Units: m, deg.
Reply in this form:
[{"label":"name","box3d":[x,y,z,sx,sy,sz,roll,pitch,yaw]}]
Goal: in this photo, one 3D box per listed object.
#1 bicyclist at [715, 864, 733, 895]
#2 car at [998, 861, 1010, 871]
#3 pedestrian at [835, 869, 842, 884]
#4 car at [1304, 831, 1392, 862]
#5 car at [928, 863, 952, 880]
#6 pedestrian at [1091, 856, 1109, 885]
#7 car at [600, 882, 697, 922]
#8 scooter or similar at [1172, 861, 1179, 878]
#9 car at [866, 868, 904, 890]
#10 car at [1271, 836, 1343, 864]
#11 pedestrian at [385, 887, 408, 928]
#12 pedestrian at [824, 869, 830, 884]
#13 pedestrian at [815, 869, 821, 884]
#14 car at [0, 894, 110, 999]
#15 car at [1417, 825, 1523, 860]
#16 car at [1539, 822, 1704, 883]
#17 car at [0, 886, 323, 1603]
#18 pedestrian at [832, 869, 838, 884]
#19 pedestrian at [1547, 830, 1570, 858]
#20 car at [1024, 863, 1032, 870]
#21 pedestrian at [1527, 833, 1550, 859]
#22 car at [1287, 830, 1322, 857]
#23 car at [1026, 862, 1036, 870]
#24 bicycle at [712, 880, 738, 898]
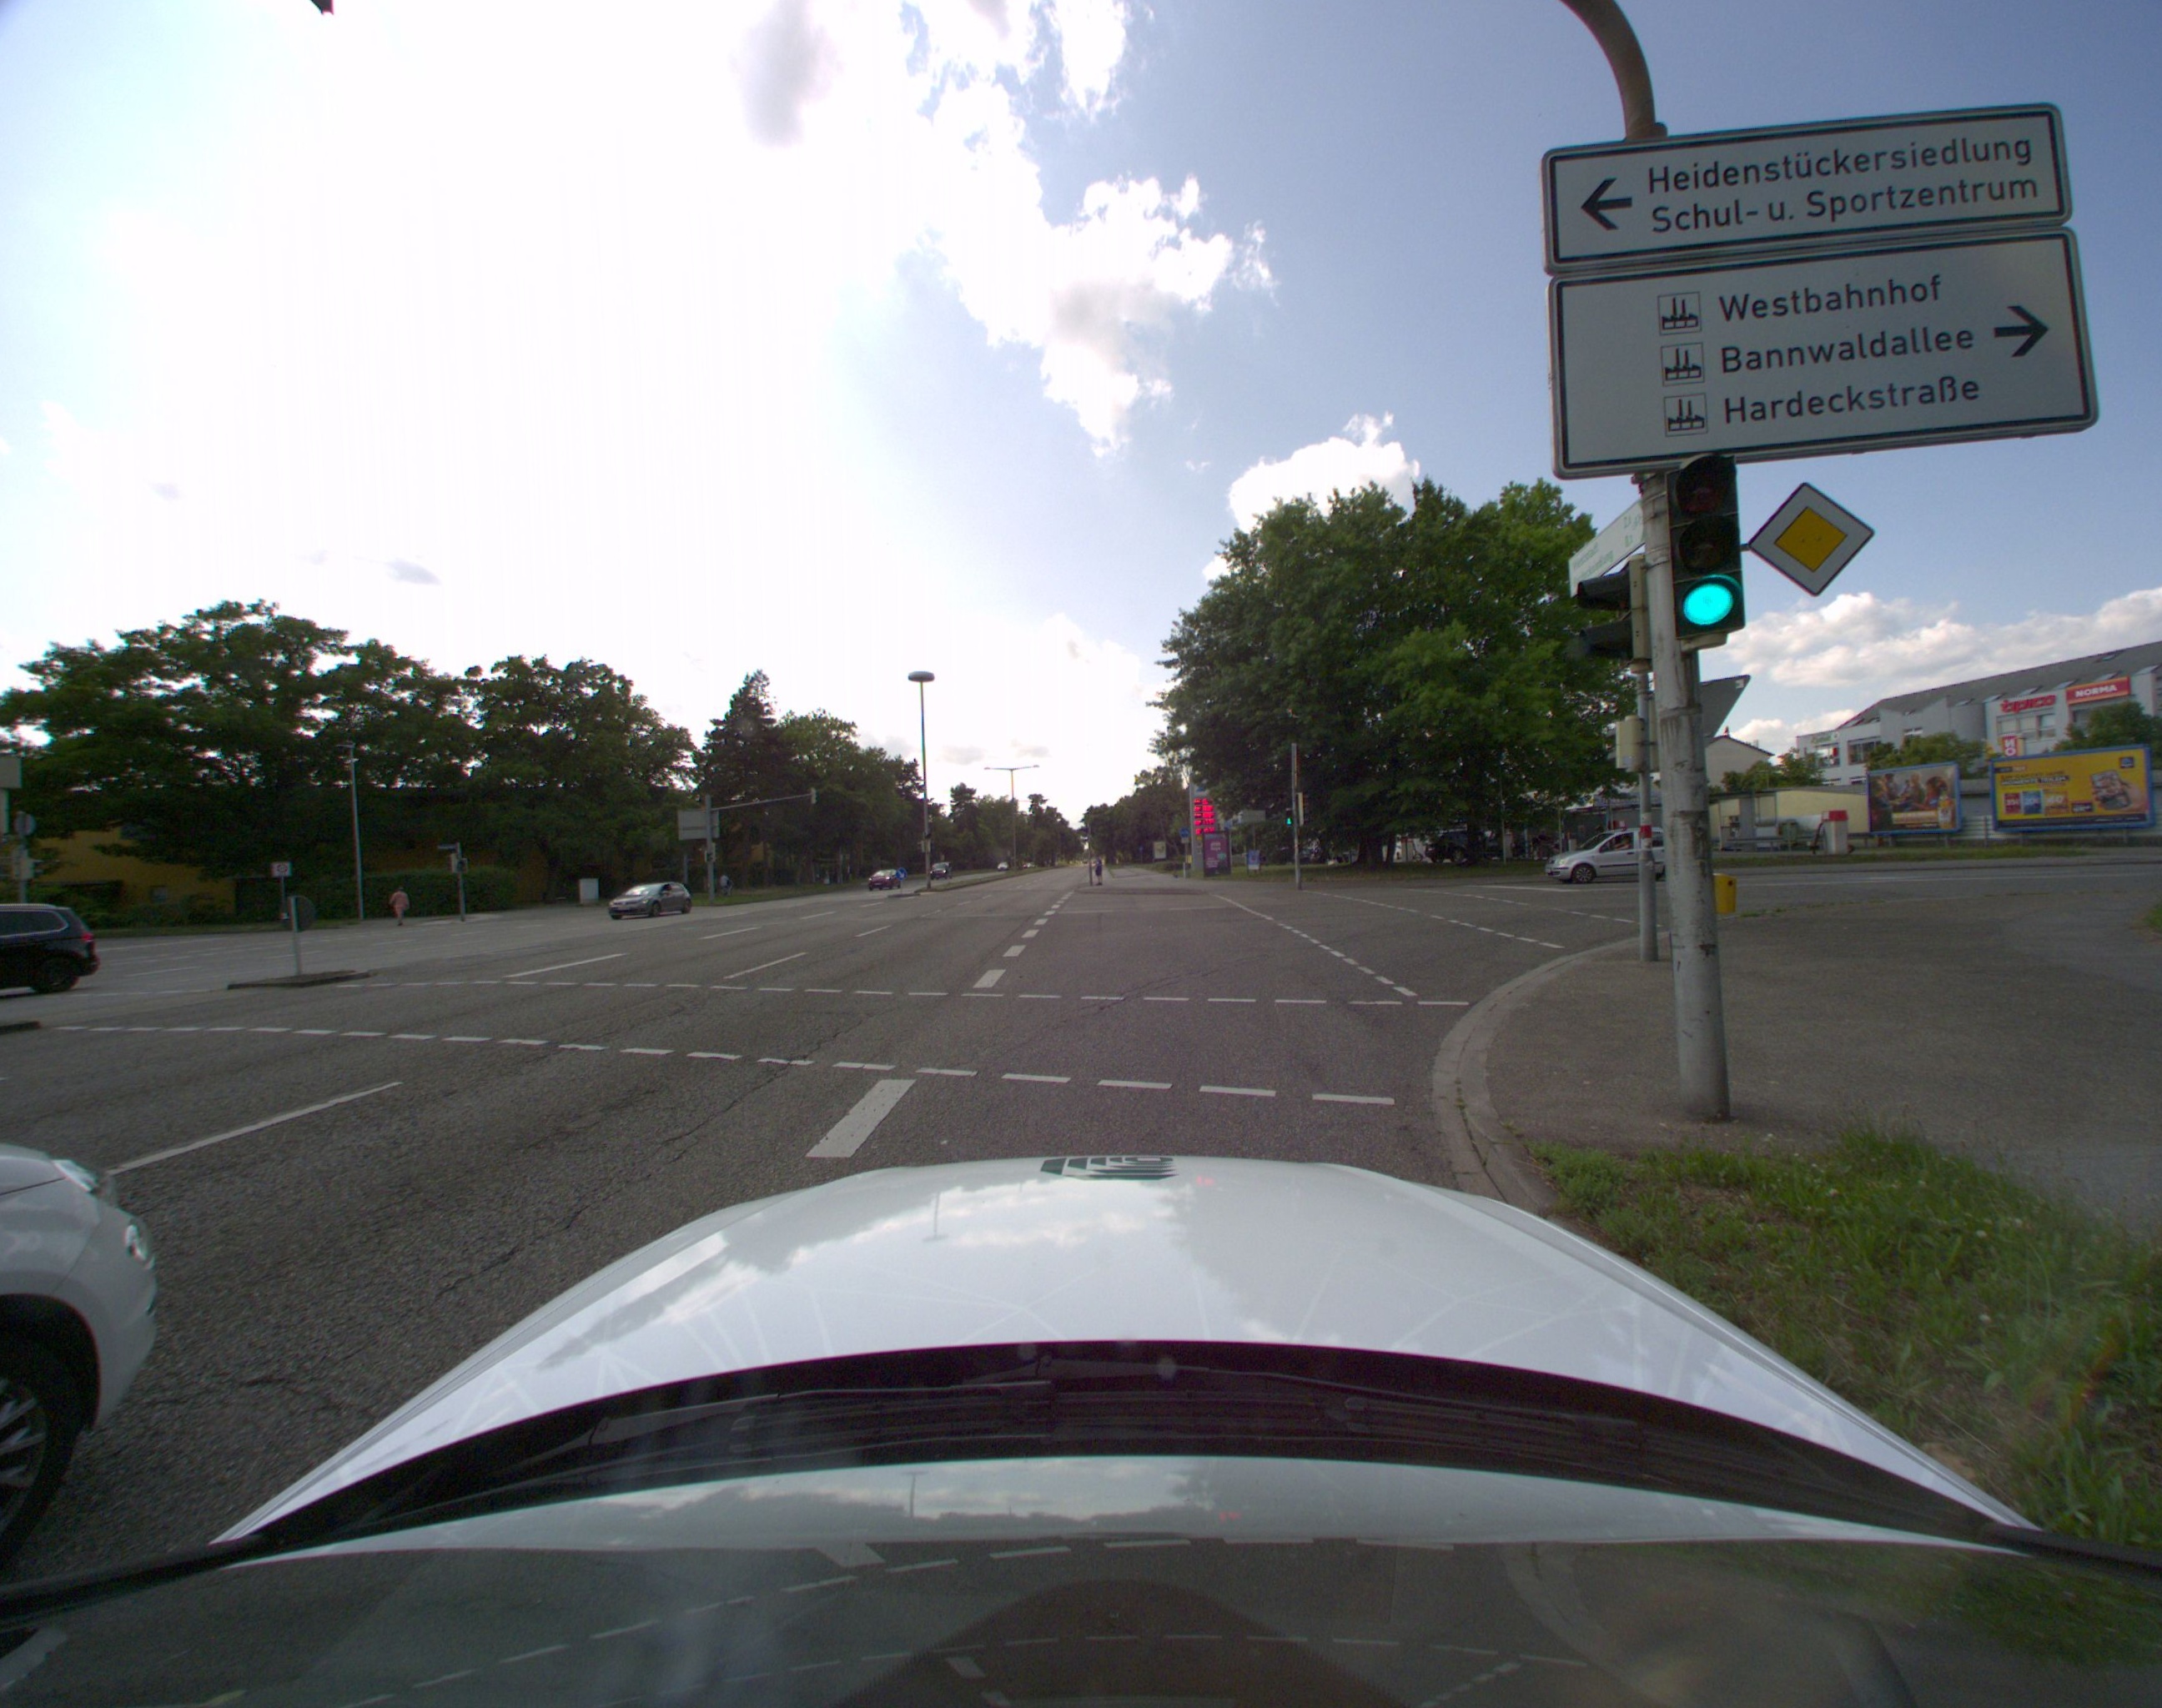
[{"label":"bicyclist","box3d":[-23.726,1.713,54.160,0.749,2.013,0.831,-3,-1,-1]},{"label":"car","box3d":[-15.318,2.361,161.734,1.854,1.705,4.455,-3,-1,0]},{"label":"pedestrian","box3d":[-24.380,2.221,81.862,0.570,1.496,0.419,0,-1,-14]},{"label":"car","box3d":[17.871,-0.499,54.649,5.180,1.827,2.147,-3,-1,-10]},{"label":"car","box3d":[-16.593,2.042,95.920,1.759,1.857,4.818,-3,0,1]},{"label":"pedestrian","box3d":[1.039,0.880,44.411,0.726,1.531,0.756,-3,-1,-15]},{"label":"car","box3d":[-17.991,1.970,34.095,1.587,1.372,4.085,-3,-1,3]},{"label":"scooter or similar","box3d":[5.636,0.899,48.543,0.220,0.979,1.273,-3,-1,2]},{"label":"car","box3d":[-14.683,1.879,61.149,1.767,1.465,4.453,-3,-1,-1]},{"label":"car","box3d":[18.161,-0.292,65.613,5.168,2.004,2.152,-3,-1,-3]},{"label":"pedestrian","box3d":[-30.490,2.381,36.295,0.696,1.742,0.697,-2,-1,-36]},{"label":"pedestrian","box3d":[-25.559,2.237,82.000,0.570,1.496,0.419,0,-1,-14]},{"label":"pedestrian","box3d":[-26.410,2.244,81.858,0.570,1.496,0.419,0,-1,-14]},{"label":"car","box3d":[-19.211,1.607,13.213,1.665,1.742,4.311,-2,-1,1]},{"label":"car","box3d":[20.213,-0.584,42.397,4.549,1.596,2.147,-3,-1,-10]},{"label":"car","box3d":[15.264,-0.033,23.182,3.571,1.517,1.565,-3,-1,14]},{"label":"car","box3d":[-3.093,0.818,0.659,1.564,1.497,3.541,-1,-1,1]},{"label":"pedestrian","box3d":[-24.929,2.242,82.614,0.570,1.496,0.419,0,-1,-14]},{"label":"pedestrian","box3d":[22.079,-0.473,37.652,0.649,1.255,0.757,1,-2,-43]},{"label":"car","box3d":[-14.118,3.298,216.457,1.854,1.705,4.454,-3,-1,-1]},{"label":"pedestrian","box3d":[21.540,-0.387,38.326,0.649,1.190,0.757,1,-2,-43]},{"label":"car","box3d":[22.247,-0.987,81.227,1.745,2.453,5.748,-3,-1,0]},{"label":"car","box3d":[-11.406,2.697,186.526,1.854,1.705,4.454,-3,-1,-1]},{"label":"bicycle","box3d":[-23.699,2.311,54.274,0.752,1.119,2.113,-3,-1,-1]}]
